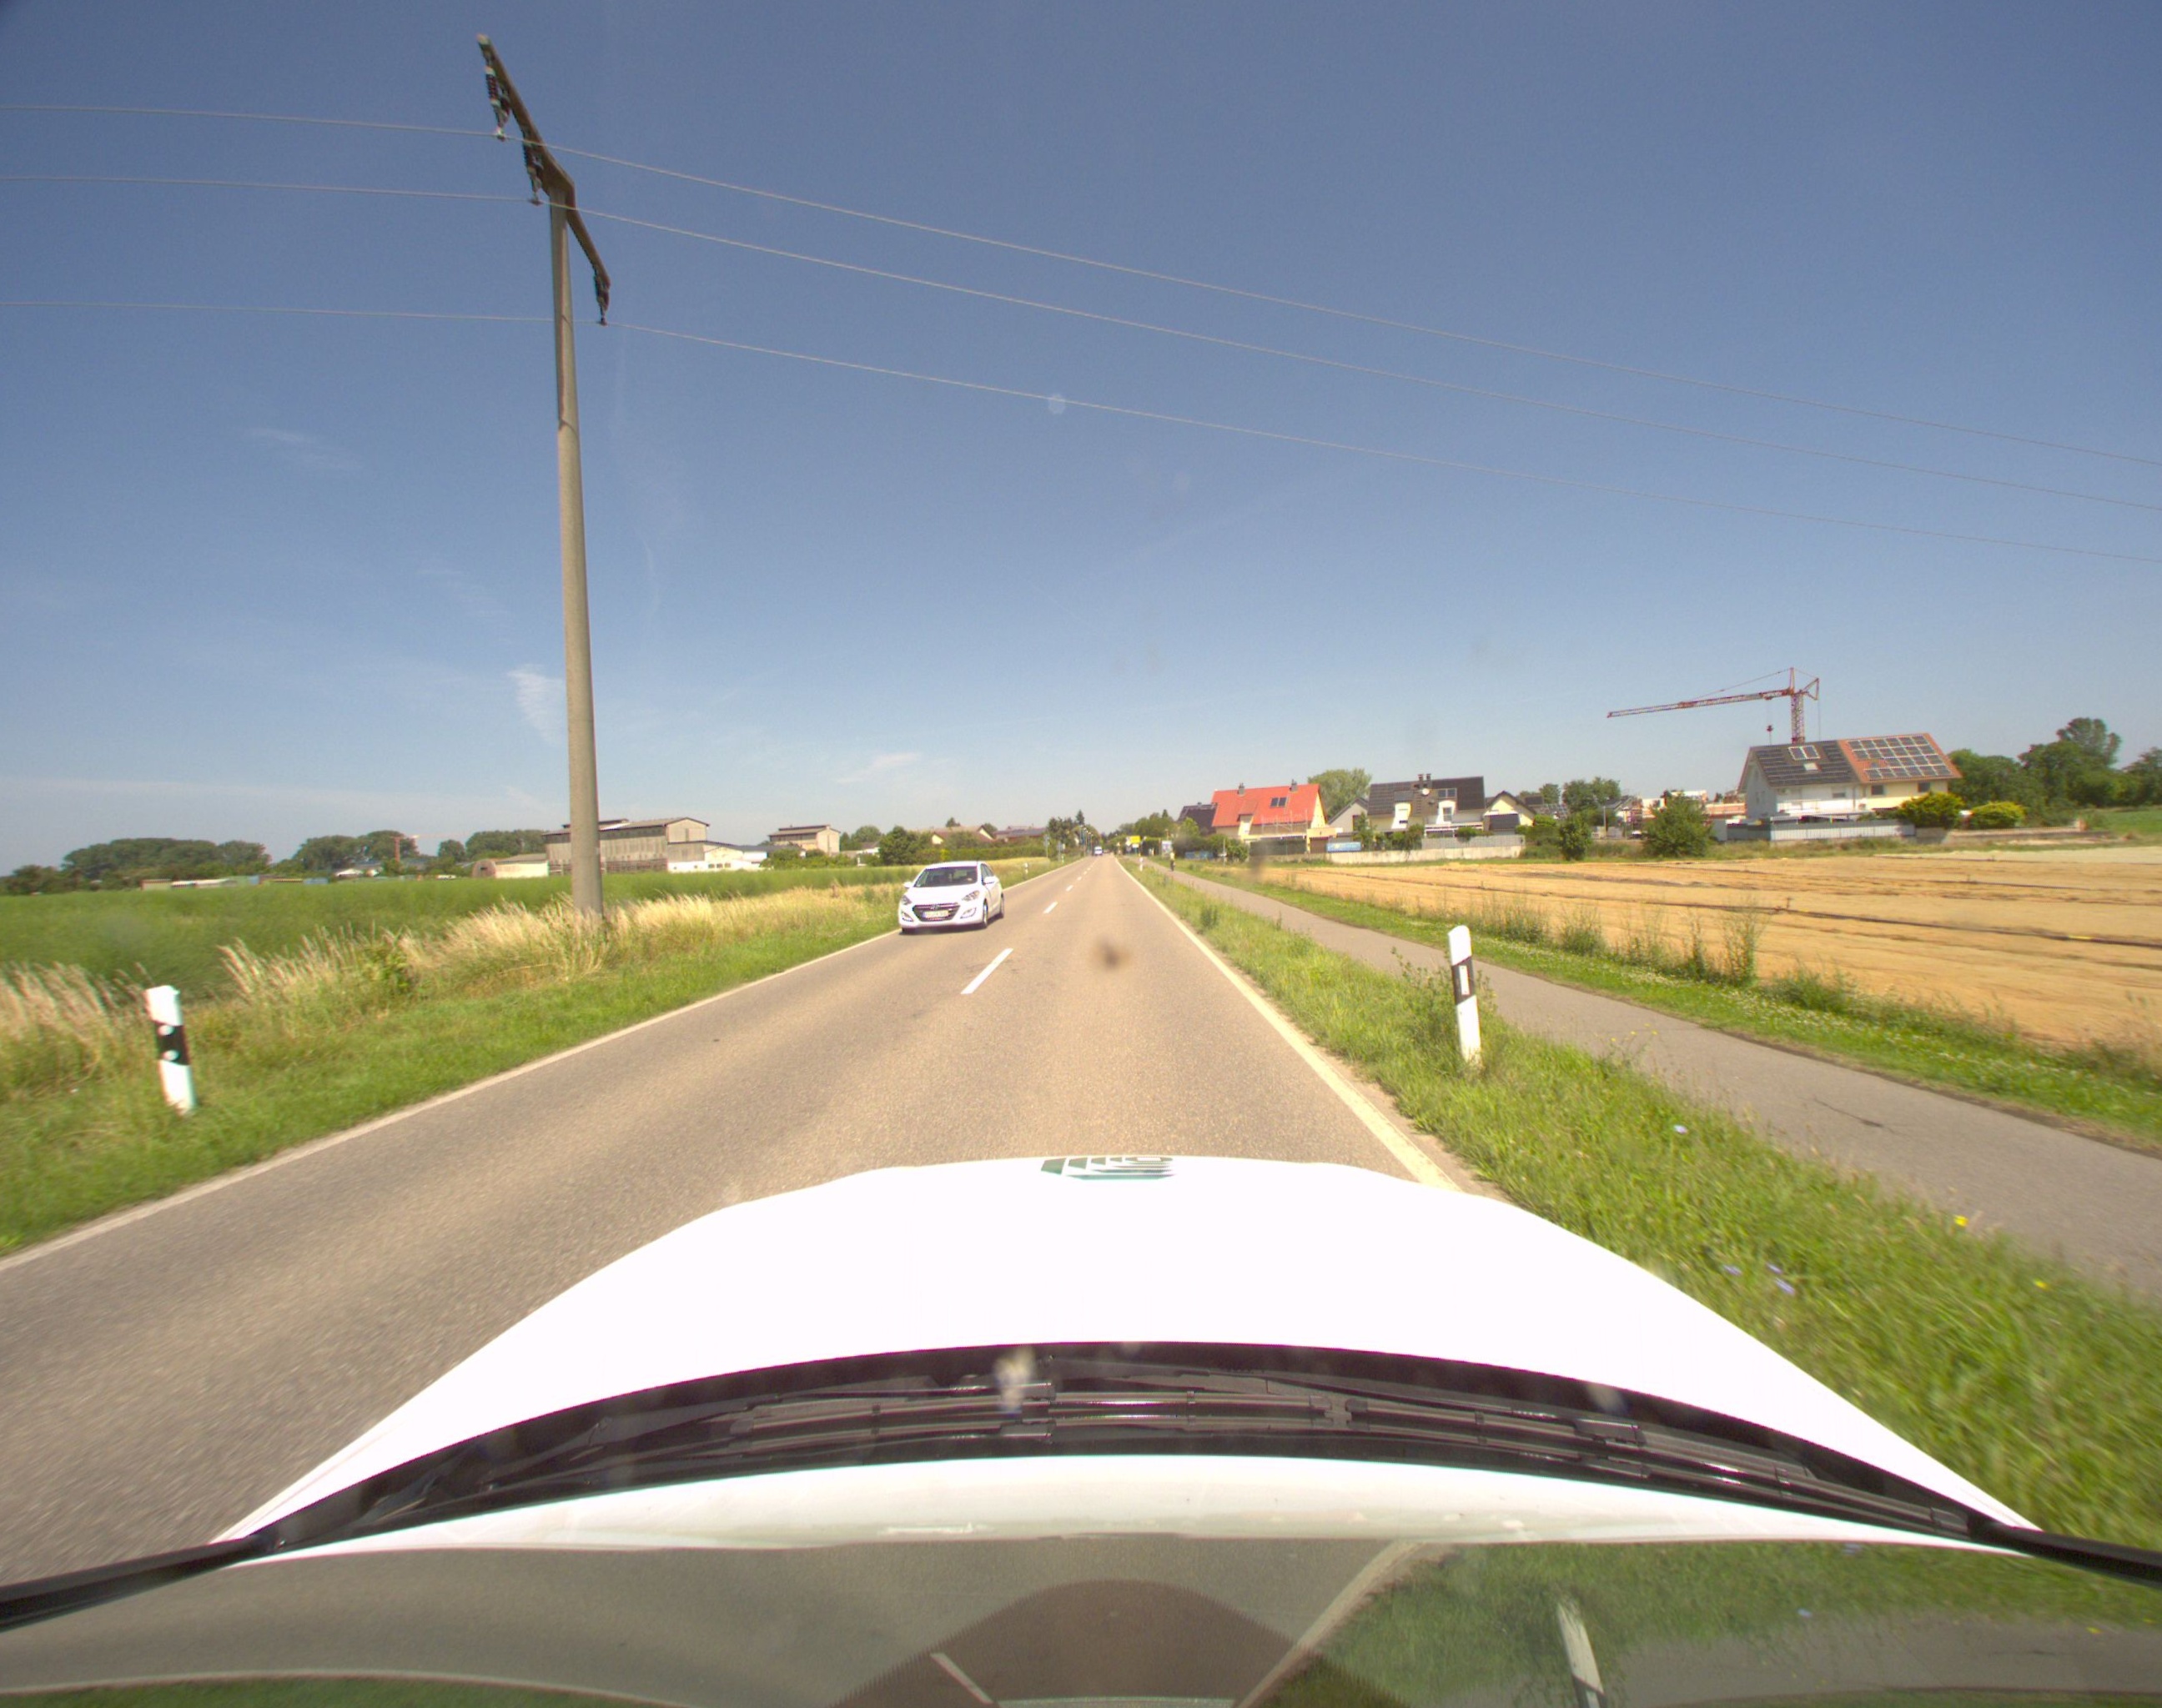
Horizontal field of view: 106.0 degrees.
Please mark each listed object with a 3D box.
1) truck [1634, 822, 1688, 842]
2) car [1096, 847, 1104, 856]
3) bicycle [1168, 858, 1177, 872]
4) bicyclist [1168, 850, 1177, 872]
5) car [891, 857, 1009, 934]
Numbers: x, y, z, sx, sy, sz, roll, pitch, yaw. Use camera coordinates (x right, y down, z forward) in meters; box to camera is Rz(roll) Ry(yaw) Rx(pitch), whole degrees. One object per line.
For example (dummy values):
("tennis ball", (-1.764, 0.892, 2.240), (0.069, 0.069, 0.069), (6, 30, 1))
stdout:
("truck", (76.722, -2.872, 107.863), (5.502, 2.230, 2.228), (-3, 0, 26))
("car", (5.269, -0.699, 226.552), (2.069, 2.542, 5.875), (-4, 1, 1))
("bicycle", (8.036, 0.980, 71.638), (0.608, 1.158, 2.275), (-1, 1, 1))
("bicyclist", (8.033, 0.621, 71.559), (0.642, 1.889, 0.861), (-1, 1, 1))
("car", (-2.825, 0.846, 18.468), (1.785, 1.409, 4.187), (-3, 0, 2))
